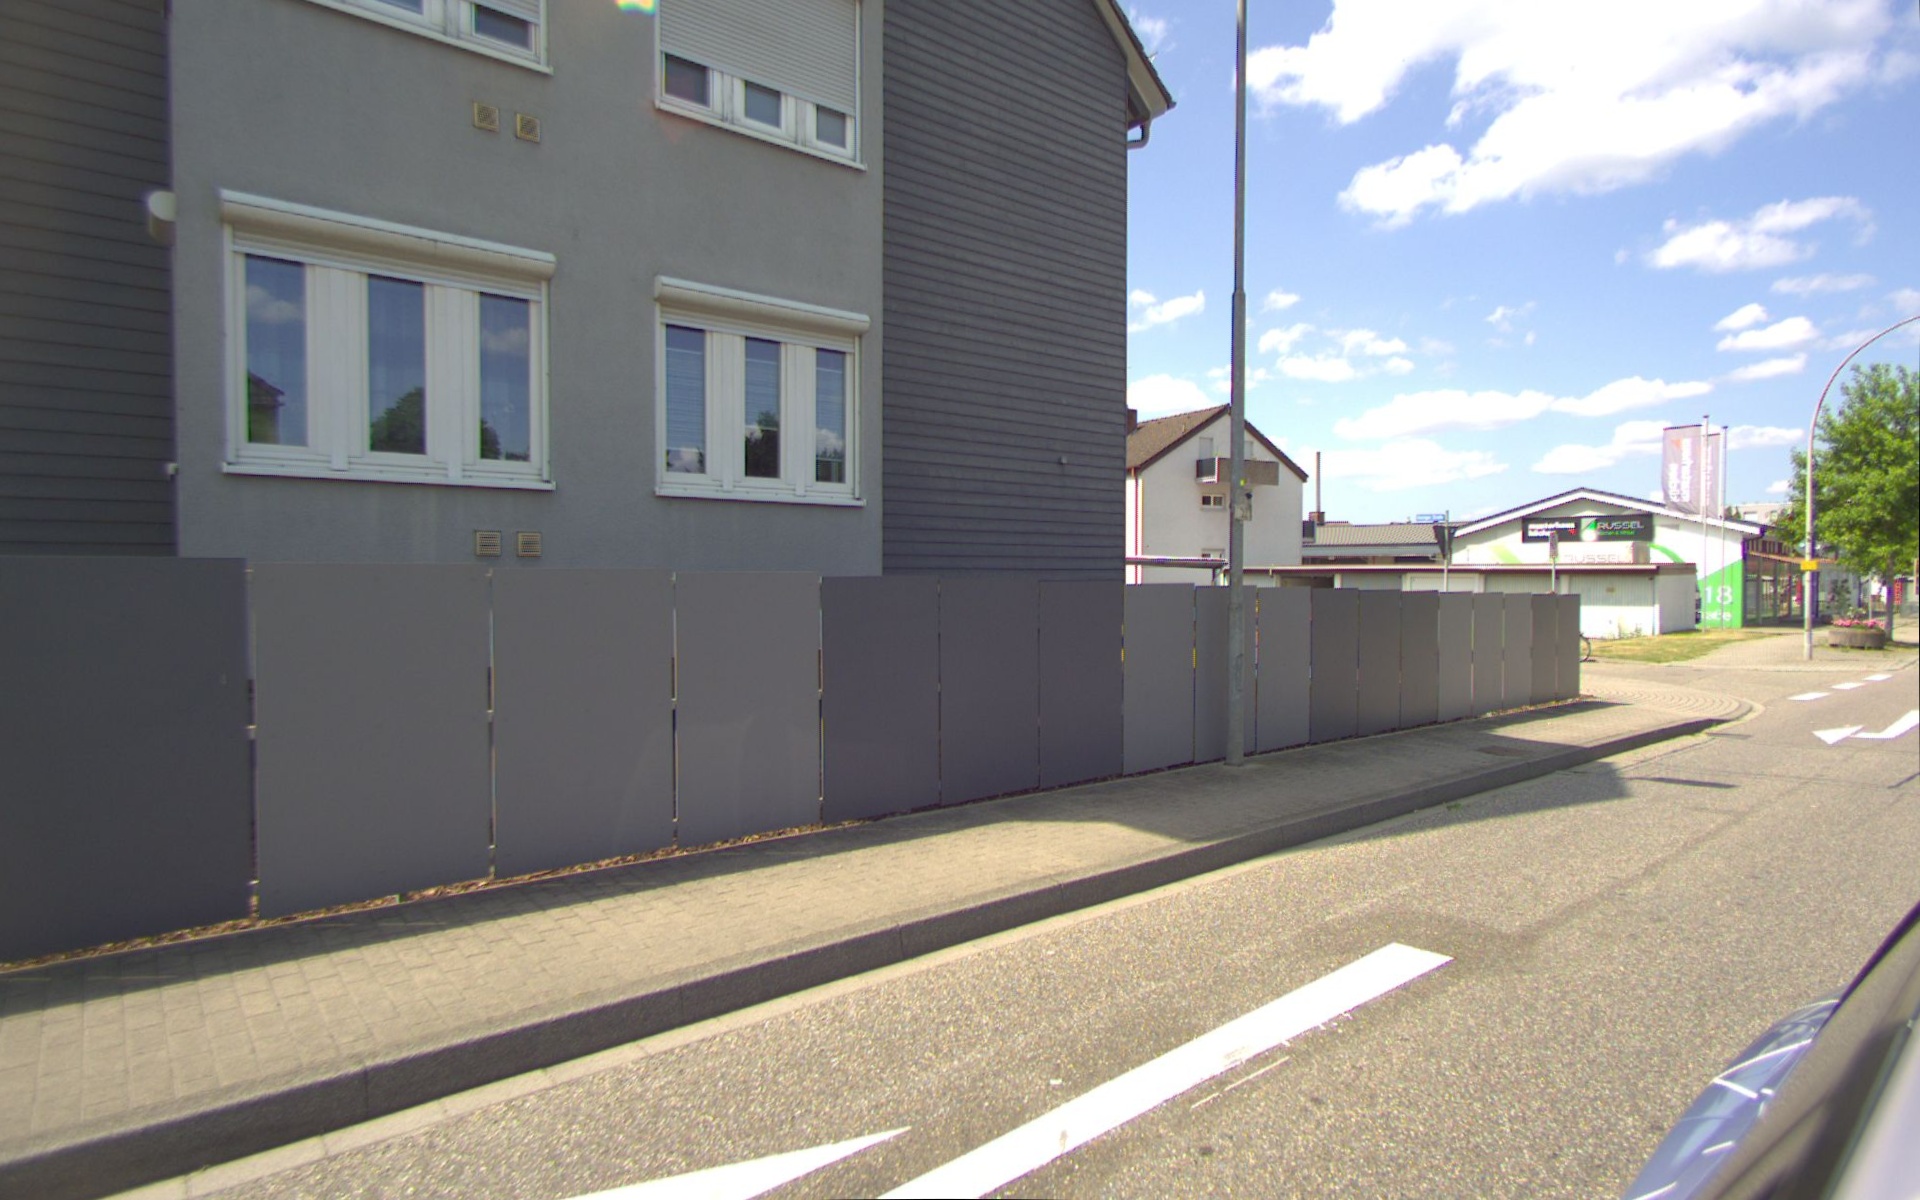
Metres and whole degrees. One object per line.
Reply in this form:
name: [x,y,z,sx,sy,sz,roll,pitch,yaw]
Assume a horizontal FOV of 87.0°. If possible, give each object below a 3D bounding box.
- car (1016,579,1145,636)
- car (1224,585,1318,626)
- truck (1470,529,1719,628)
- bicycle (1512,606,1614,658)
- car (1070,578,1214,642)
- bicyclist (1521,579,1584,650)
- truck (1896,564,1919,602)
car: [3.682,0.247,30.685,3.784,1.607,1.741,2,0,-40]
car: [12.335,0.184,40.036,4.060,1.522,1.678,-1,1,-41]
truck: [25.519,-0.860,41.100,2.633,3.617,8.180,-2,2,-42]
bicycle: [14.223,0.729,23.919,0.792,1.180,1.939,0,0,-42]
car: [5.227,0.304,28.742,4.139,1.669,1.741,2,0,-40]
bicyclist: [14.077,0.338,24.042,0.792,1.650,1.109,0,-1,-43]
truck: [72.441,-1.281,76.241,2.571,2.795,6.240,3,3,41]
